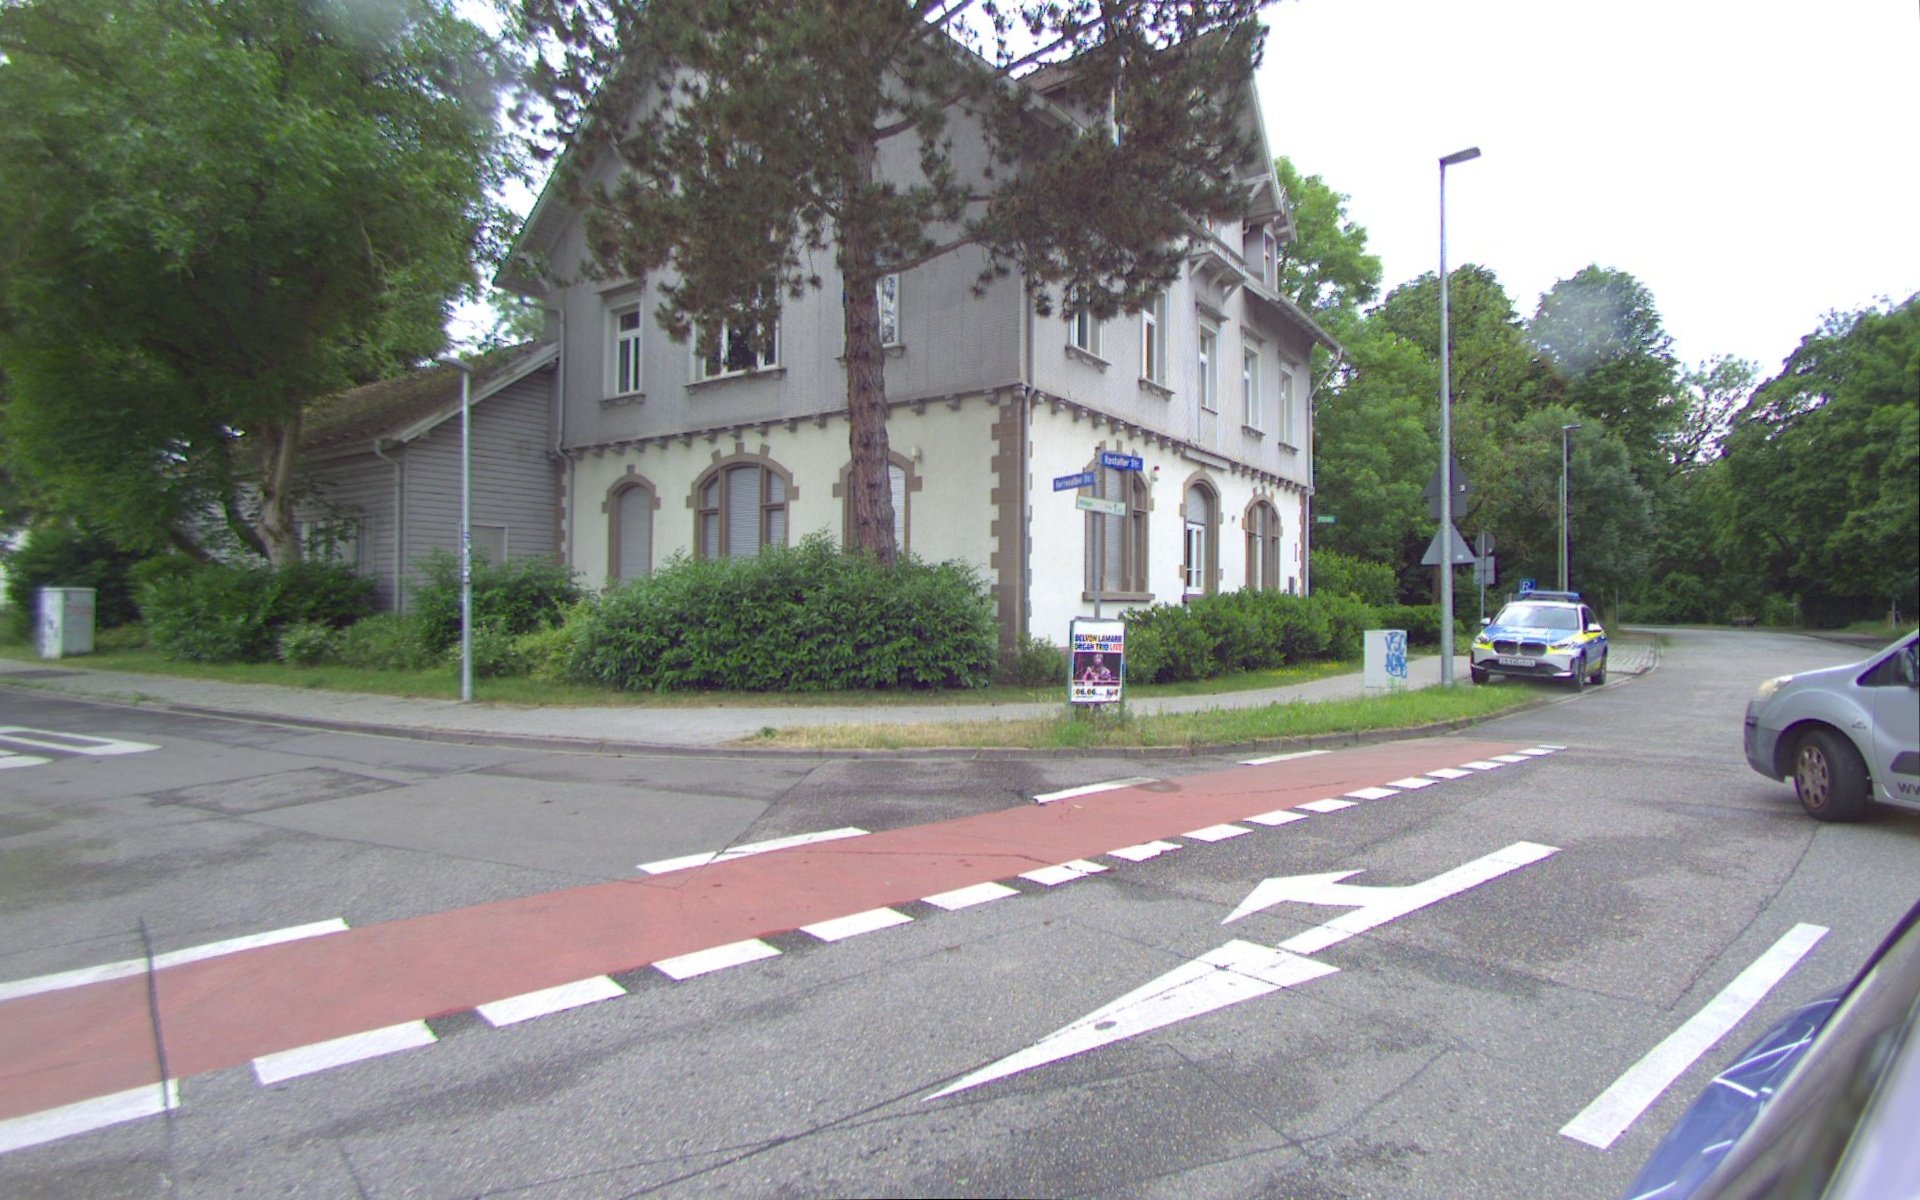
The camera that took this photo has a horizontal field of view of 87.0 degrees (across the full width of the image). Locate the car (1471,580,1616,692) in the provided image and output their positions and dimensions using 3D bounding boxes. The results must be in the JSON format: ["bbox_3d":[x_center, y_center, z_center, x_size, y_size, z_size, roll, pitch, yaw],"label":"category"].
[{"bbox_3d":[11.306,0.612,19.494,1.926,1.873,3.947,3,1,37],"label":"car"}]

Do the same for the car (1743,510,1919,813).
[{"bbox_3d":[7.073,0.395,5.518,2.052,1.881,4.227,0,0,-6],"label":"car"}]
